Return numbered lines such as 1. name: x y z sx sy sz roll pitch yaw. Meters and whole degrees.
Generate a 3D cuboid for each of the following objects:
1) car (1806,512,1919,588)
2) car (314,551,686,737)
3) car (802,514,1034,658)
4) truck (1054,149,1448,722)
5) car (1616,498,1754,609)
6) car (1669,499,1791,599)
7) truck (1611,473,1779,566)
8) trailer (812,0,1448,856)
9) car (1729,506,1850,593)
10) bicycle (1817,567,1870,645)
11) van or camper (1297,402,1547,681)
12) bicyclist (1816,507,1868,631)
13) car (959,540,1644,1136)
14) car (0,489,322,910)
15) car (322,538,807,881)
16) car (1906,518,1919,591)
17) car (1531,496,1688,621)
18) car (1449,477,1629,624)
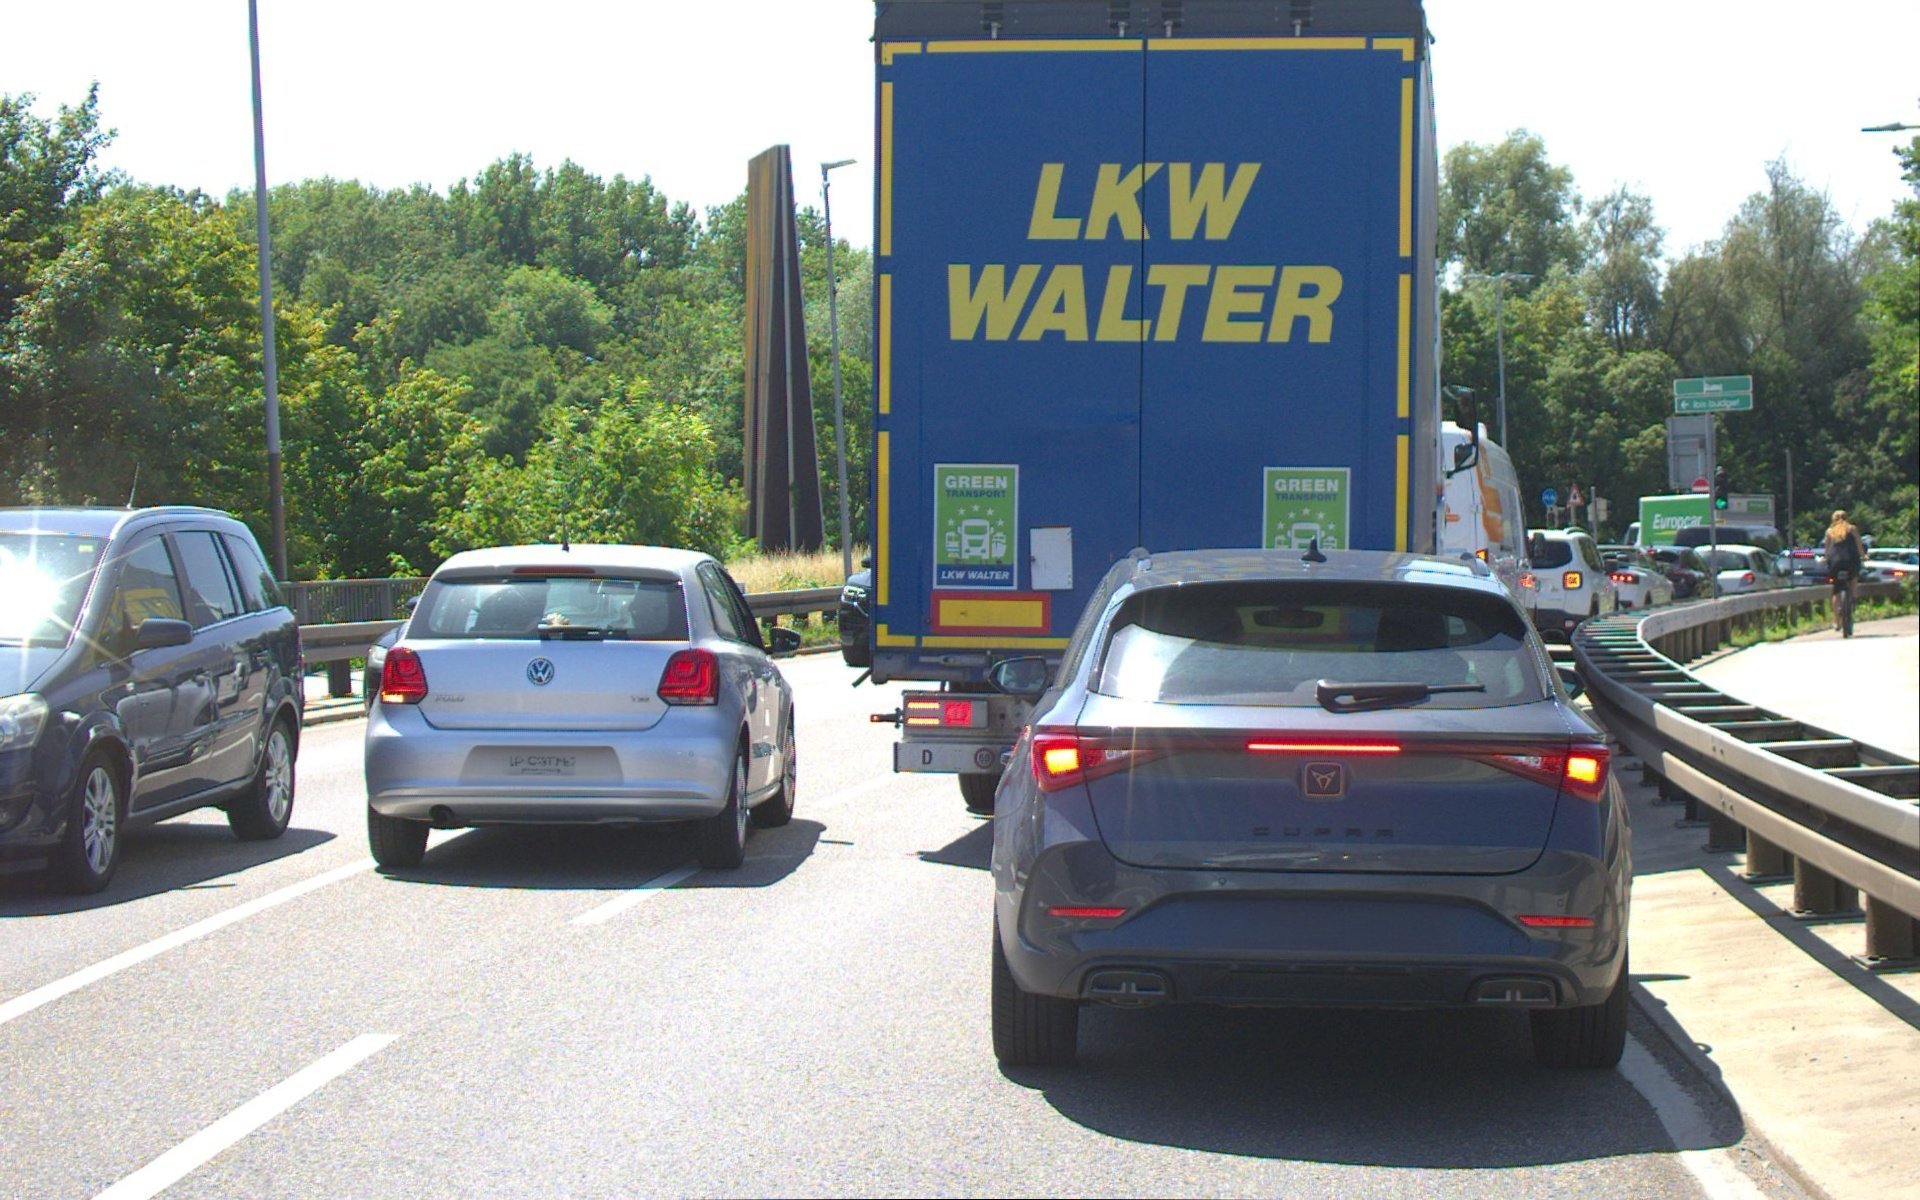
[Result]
1. car: 20.803 -1.129 78.335 1.997 1.570 3.993 2 0 28
2. car: -3.468 0.285 26.633 1.679 1.304 3.971 0 1 11
3. car: -0.447 -0.205 42.302 1.967 1.667 4.612 0 1 11
4. truck: 2.699 -1.352 29.893 2.905 4.403 6.553 1 1 9
5. car: 12.531 -0.828 59.286 1.722 1.837 3.996 1 2 21
6. car: 14.721 -0.992 65.570 1.722 1.837 3.996 1 2 21
7. truck: 23.160 -2.544 108.593 2.334 2.864 5.943 -1 1 -21
8. trailer: 1.592 -1.191 22.000 2.905 4.403 12.430 1 1 8
9. car: 17.427 -1.046 72.105 1.687 1.754 3.995 1 1 25
10. bicycle: 12.270 0.081 47.786 0.582 1.032 1.484 -3 1 11
11. van or camper: 5.212 -0.669 38.022 2.155 2.806 6.384 1 1 13
12. bicyclist: 12.251 -0.437 47.761 0.578 1.677 0.729 -2 1 11
13. car: 0.967 0.548 10.457 1.677 1.451 3.958 0 1 4
14. car: -4.268 0.329 15.413 1.707 1.620 4.252 1 1 5
15. car: -1.772 0.427 16.579 1.677 1.406 3.975 1 1 3
16. car: 24.478 -1.086 83.914 1.688 1.754 3.993 1 1 30
17. car: 9.794 -0.655 51.663 1.722 1.796 3.996 1 2 20
18. car: 7.660 -0.688 45.231 1.722 1.837 3.997 1 2 18
